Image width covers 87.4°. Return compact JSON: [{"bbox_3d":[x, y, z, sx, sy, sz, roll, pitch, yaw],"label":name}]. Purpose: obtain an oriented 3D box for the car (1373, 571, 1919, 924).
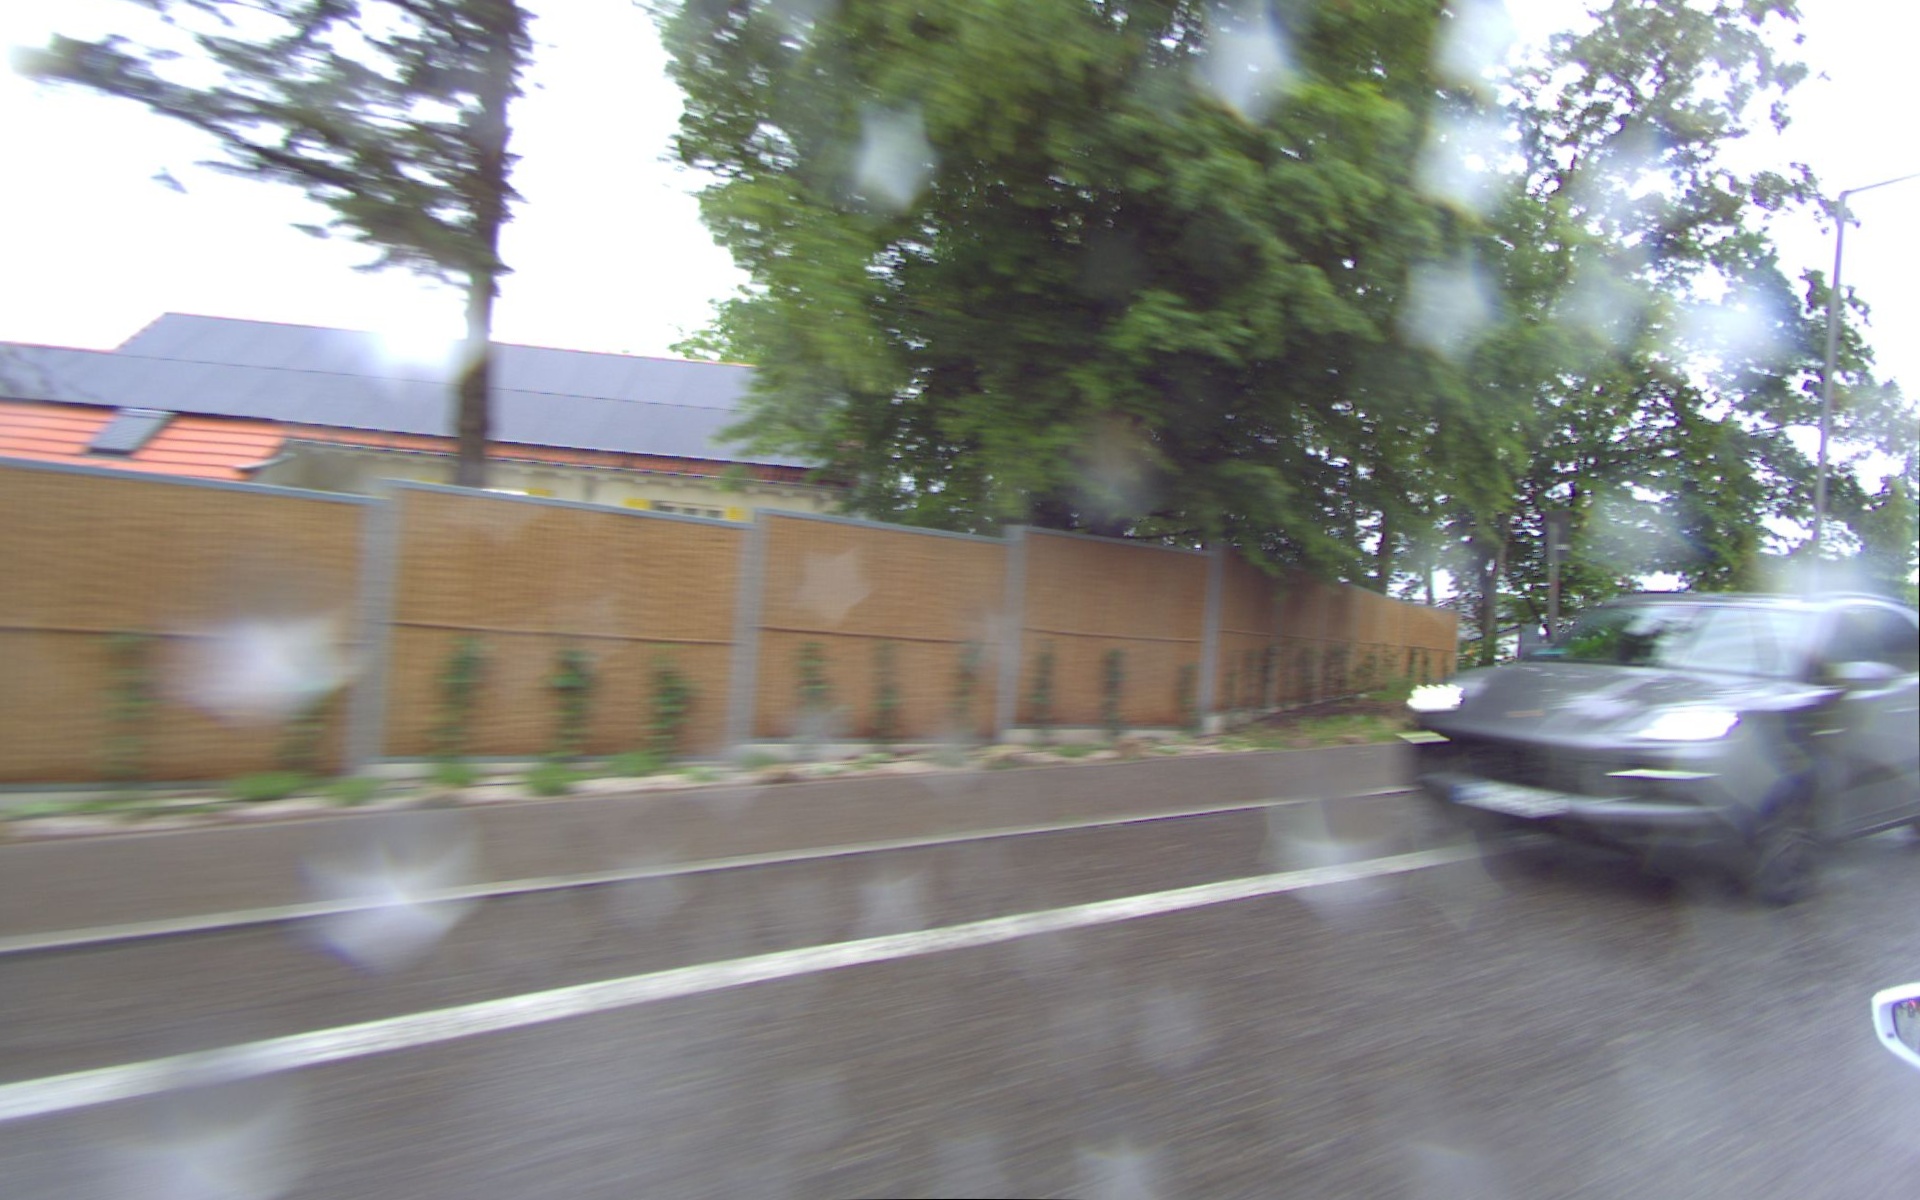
[{"bbox_3d":[5.059,0.743,6.731,4.494,1.670,1.909,2,0,-31],"label":"car"}]
